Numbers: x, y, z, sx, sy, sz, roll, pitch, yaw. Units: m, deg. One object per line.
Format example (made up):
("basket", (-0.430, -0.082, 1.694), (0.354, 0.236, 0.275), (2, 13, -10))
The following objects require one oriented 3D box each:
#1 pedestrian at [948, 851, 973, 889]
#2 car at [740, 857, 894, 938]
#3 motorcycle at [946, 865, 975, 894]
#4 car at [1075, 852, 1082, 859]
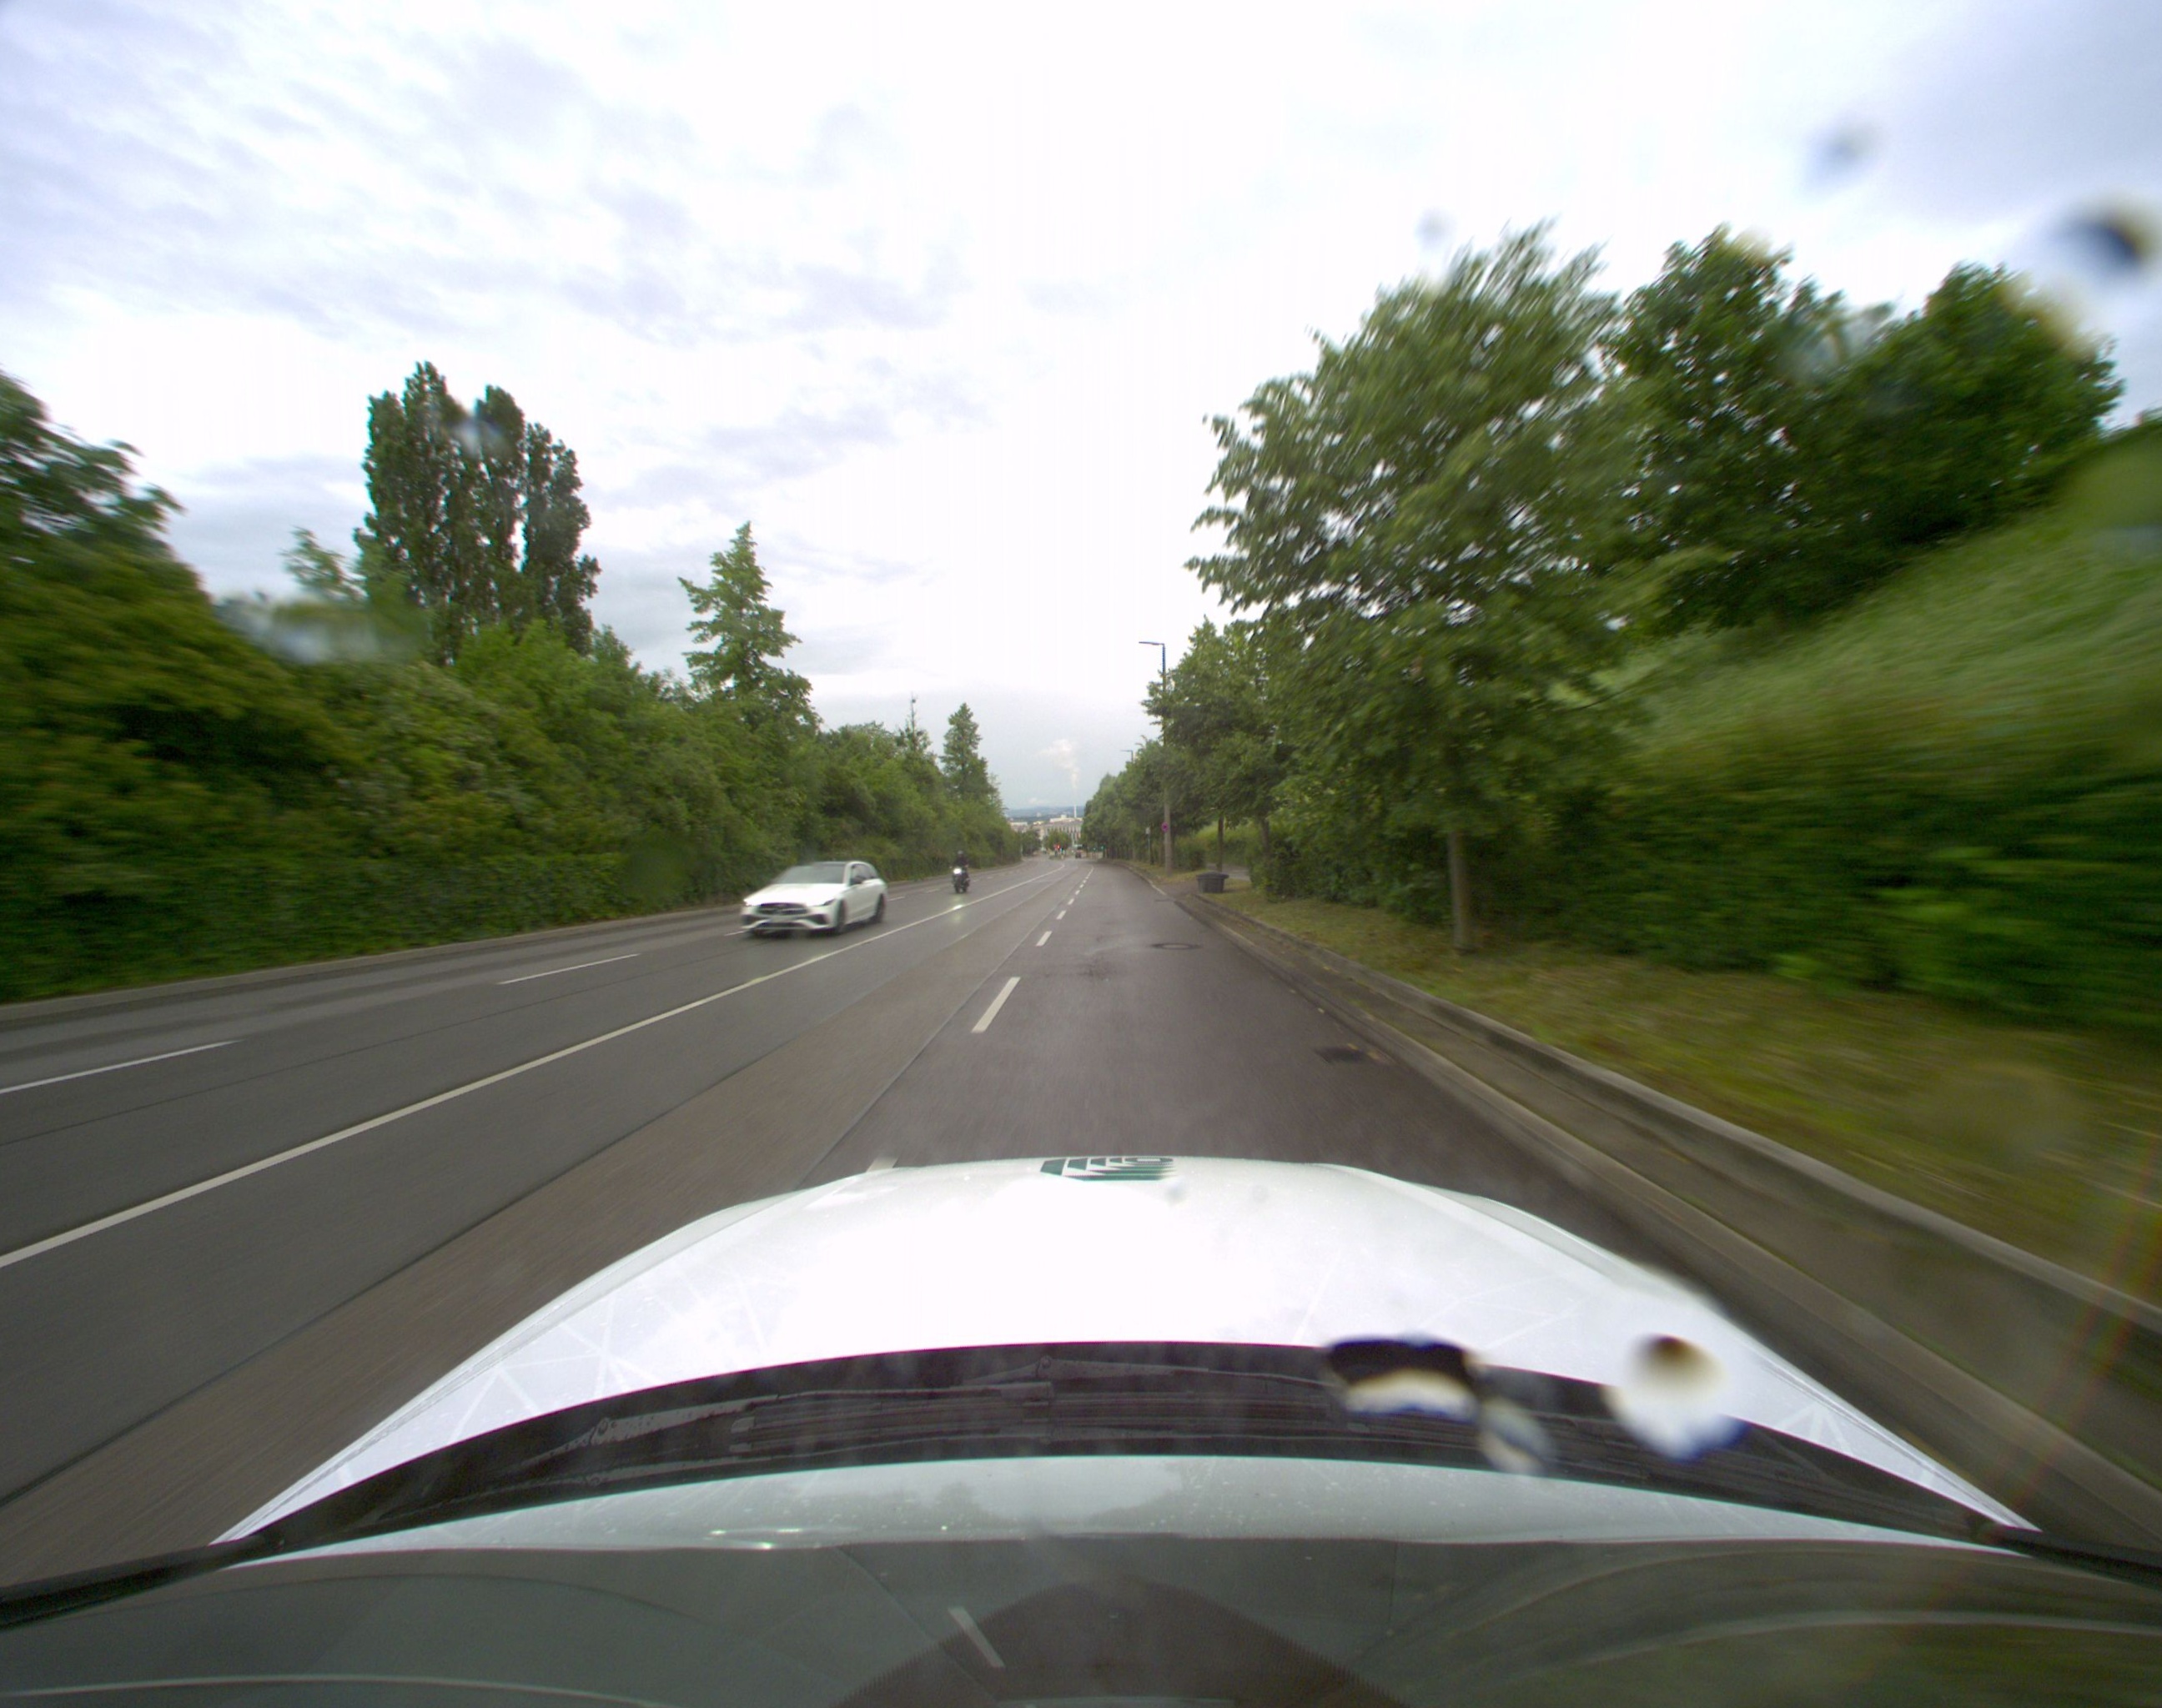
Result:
("pedestrian", (-5.011, 0.662, 33.957), (0.802, 1.541, 1.112), (-1, 0, 2))
("car", (-5.480, 0.821, 17.553), (1.708, 1.505, 4.518), (0, 0, 2))
("motorcycle", (-5.004, 1.034, 33.935), (0.802, 1.131, 2.232), (-1, 0, 2))
("car", (-0.671, 0.351, 221.231), (1.844, 1.702, 3.791), (0, -1, -1))
